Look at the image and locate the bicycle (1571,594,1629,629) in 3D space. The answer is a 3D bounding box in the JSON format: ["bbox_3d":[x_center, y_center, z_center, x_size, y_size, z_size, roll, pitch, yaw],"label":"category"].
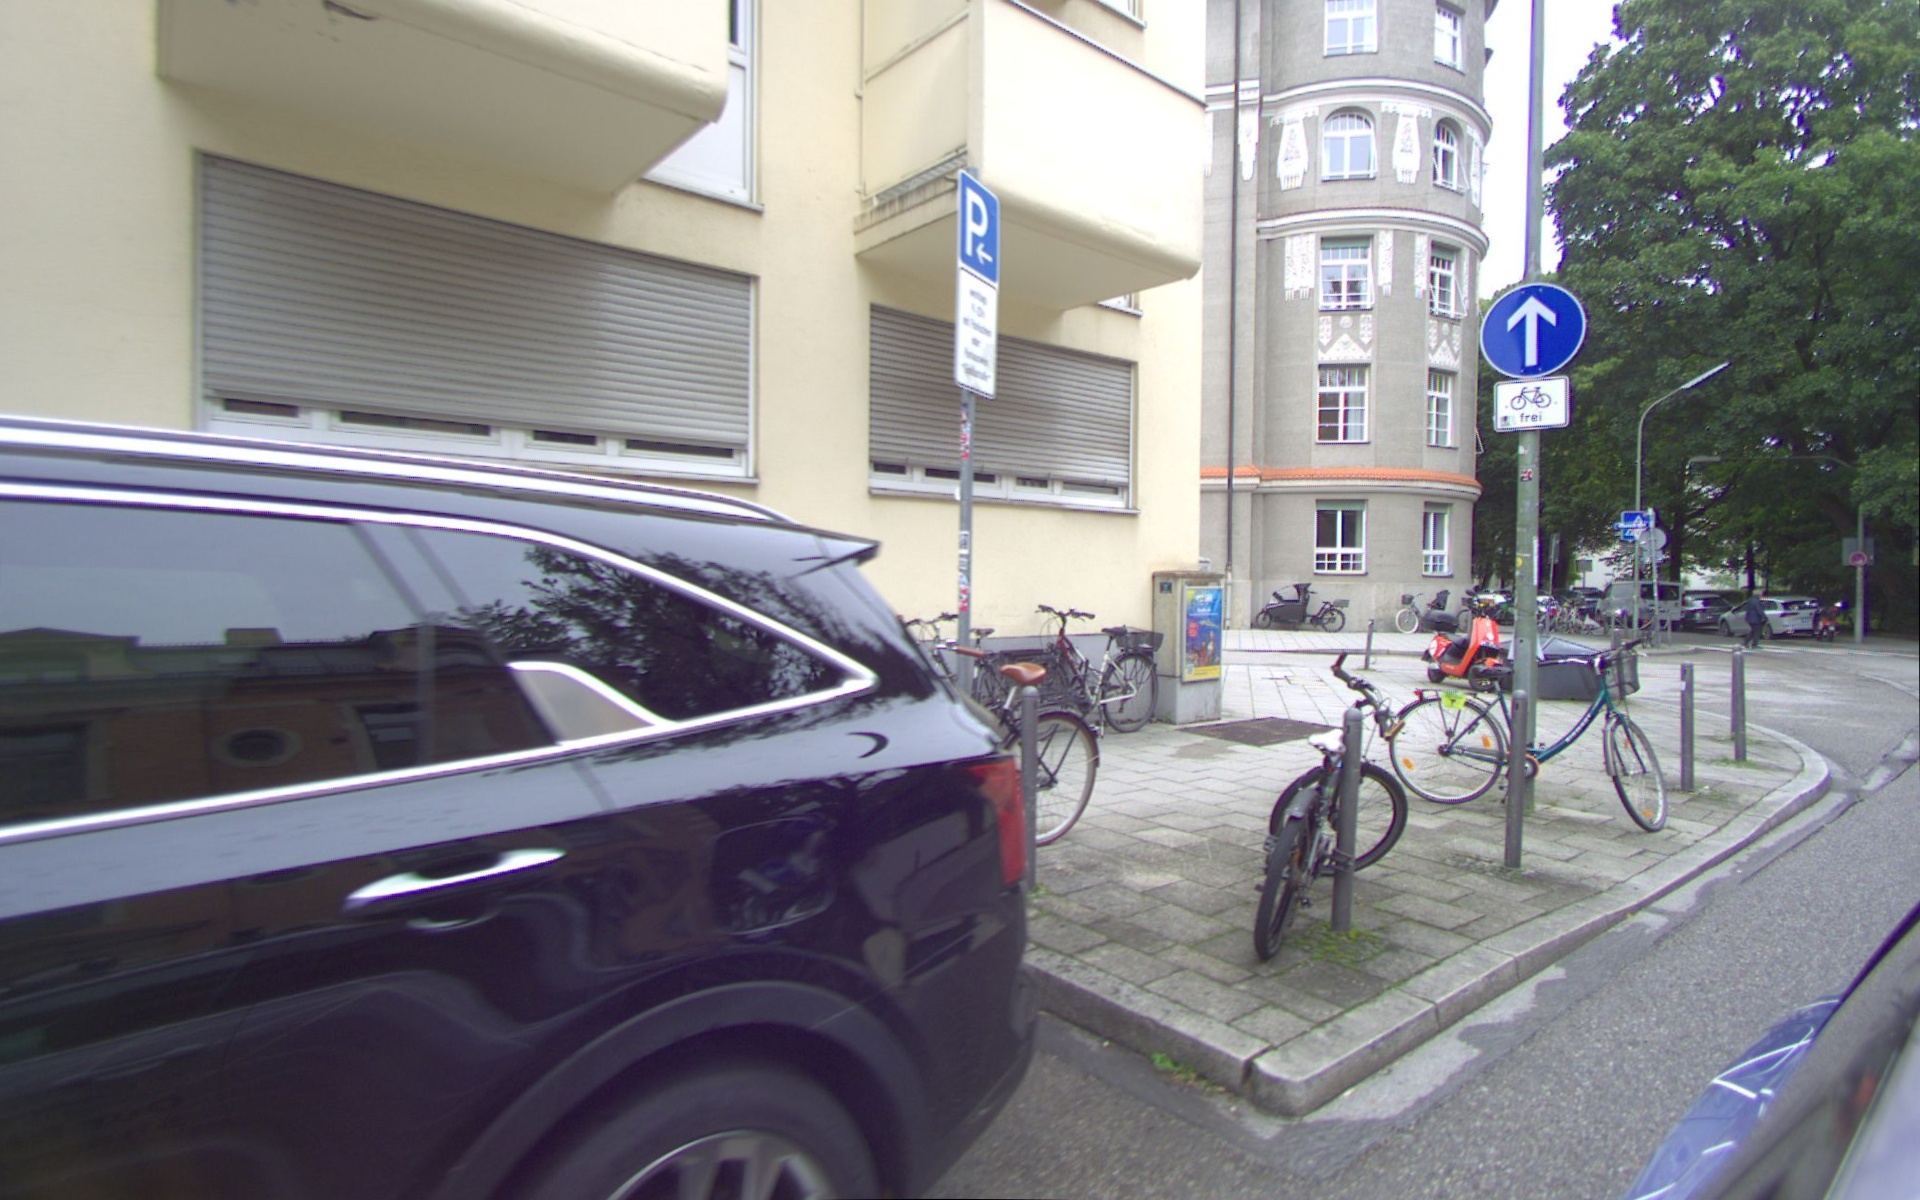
[{"bbox_3d":[22.348,0.386,35.368,1.695,1.161,0.506,2,2,32],"label":"bicycle"}]

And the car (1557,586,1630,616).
[{"bbox_3d":[33.136,0.028,53.061,1.750,1.450,4.501,1,1,12],"label":"car"}]

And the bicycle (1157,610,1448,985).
[{"bbox_3d":[1.536,0.664,4.296,0.578,1.168,1.937,2,2,37],"label":"bicycle"}]

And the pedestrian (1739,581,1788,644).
[{"bbox_3d":[21.960,0.329,27.678,0.715,1.662,0.810,1,2,12],"label":"pedestrian"}]

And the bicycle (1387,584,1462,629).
[{"bbox_3d":[13.416,0.176,29.252,1.886,1.271,0.740,0,2,-15],"label":"bicycle"}]

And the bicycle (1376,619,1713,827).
[{"bbox_3d":[3.645,0.709,6.475,1.747,1.079,0.768,2,2,29],"label":"bicycle"}]

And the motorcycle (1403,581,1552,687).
[{"bbox_3d":[7.171,0.422,14.165,0.800,1.373,2.087,0,1,-7],"label":"motorcycle"}]

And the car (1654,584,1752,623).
[{"bbox_3d":[30.287,0.112,41.411,1.600,1.467,4.418,1,1,13],"label":"car"}]

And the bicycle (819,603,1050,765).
[{"bbox_3d":[-0.165,0.579,7.689,1.730,1.067,0.581,-1,2,-36],"label":"bicycle"}]

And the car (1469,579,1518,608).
[{"bbox_3d":[35.953,-0.495,68.323,1.750,1.858,4.501,1,1,12],"label":"car"}]

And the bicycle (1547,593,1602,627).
[{"bbox_3d":[22.073,0.357,36.366,1.671,1.161,0.461,2,2,32],"label":"bicycle"}]

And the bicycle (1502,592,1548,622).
[{"bbox_3d":[23.672,0.278,42.409,1.671,1.161,0.506,2,2,32],"label":"bicycle"}]

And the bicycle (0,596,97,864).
[{"bbox_3d":[-4.520,0.539,3.878,0.580,1.067,1.808,2,2,45],"label":"bicycle"}]

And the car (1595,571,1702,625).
[{"bbox_3d":[28.201,-0.139,41.677,2.016,2.067,4.937,1,1,14],"label":"car"}]

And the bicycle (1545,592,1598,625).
[{"bbox_3d":[22.759,0.295,37.679,1.671,1.161,0.506,2,2,32],"label":"bicycle"}]

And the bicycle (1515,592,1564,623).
[{"bbox_3d":[22.885,0.278,39.977,1.671,1.161,0.506,2,2,32],"label":"bicycle"}]

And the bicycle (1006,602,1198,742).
[{"bbox_3d":[1.254,0.569,8.757,1.730,1.067,0.581,-1,2,-36],"label":"bicycle"}]

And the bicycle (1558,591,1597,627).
[{"bbox_3d":[20.561,0.289,33.693,1.653,1.161,0.512,-1,2,-38],"label":"bicycle"}]

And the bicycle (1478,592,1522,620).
[{"bbox_3d":[23.723,0.254,44.462,1.671,1.161,0.506,2,2,32],"label":"bicycle"}]

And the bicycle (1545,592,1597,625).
[{"bbox_3d":[23.096,0.322,38.274,1.671,1.161,0.506,2,2,32],"label":"bicycle"}]

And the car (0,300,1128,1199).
[{"bbox_3d":[-1.946,0.517,1.346,4.470,1.659,1.853,-1,2,-41],"label":"car"}]

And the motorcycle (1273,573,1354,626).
[{"bbox_3d":[10.158,-0.021,29.161,2.116,1.458,0.735,1,2,15],"label":"motorcycle"}]

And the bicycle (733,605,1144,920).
[{"bbox_3d":[-0.034,0.634,4.715,1.926,1.168,0.581,-1,2,-36],"label":"bicycle"}]

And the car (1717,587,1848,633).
[{"bbox_3d":[29.009,0.299,35.887,1.598,1.467,4.424,1,1,9],"label":"car"}]

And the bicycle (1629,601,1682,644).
[{"bbox_3d":[17.718,0.559,25.753,1.971,1.022,0.512,-1,2,-38],"label":"bicycle"}]

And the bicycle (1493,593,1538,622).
[{"bbox_3d":[23.759,0.301,43.307,1.671,1.161,0.506,2,2,32],"label":"bicycle"}]

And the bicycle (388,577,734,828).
[{"bbox_3d":[-2.230,0.483,5.824,0.687,1.221,1.735,2,2,44],"label":"bicycle"}]

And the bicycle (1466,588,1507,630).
[{"bbox_3d":[16.009,0.258,30.764,0.563,1.170,1.897,6,5,42],"label":"bicycle"}]

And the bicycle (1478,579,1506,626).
[{"bbox_3d":[17.066,0.070,32.479,0.731,1.431,1.908,1,2,28],"label":"bicycle"}]

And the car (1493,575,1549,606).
[{"bbox_3d":[35.112,-0.623,63.448,1.750,1.841,4.501,1,1,12],"label":"car"}]

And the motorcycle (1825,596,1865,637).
[{"bbox_3d":[27.328,0.500,31.277,0.855,1.199,1.977,-3,-1,40],"label":"motorcycle"}]
